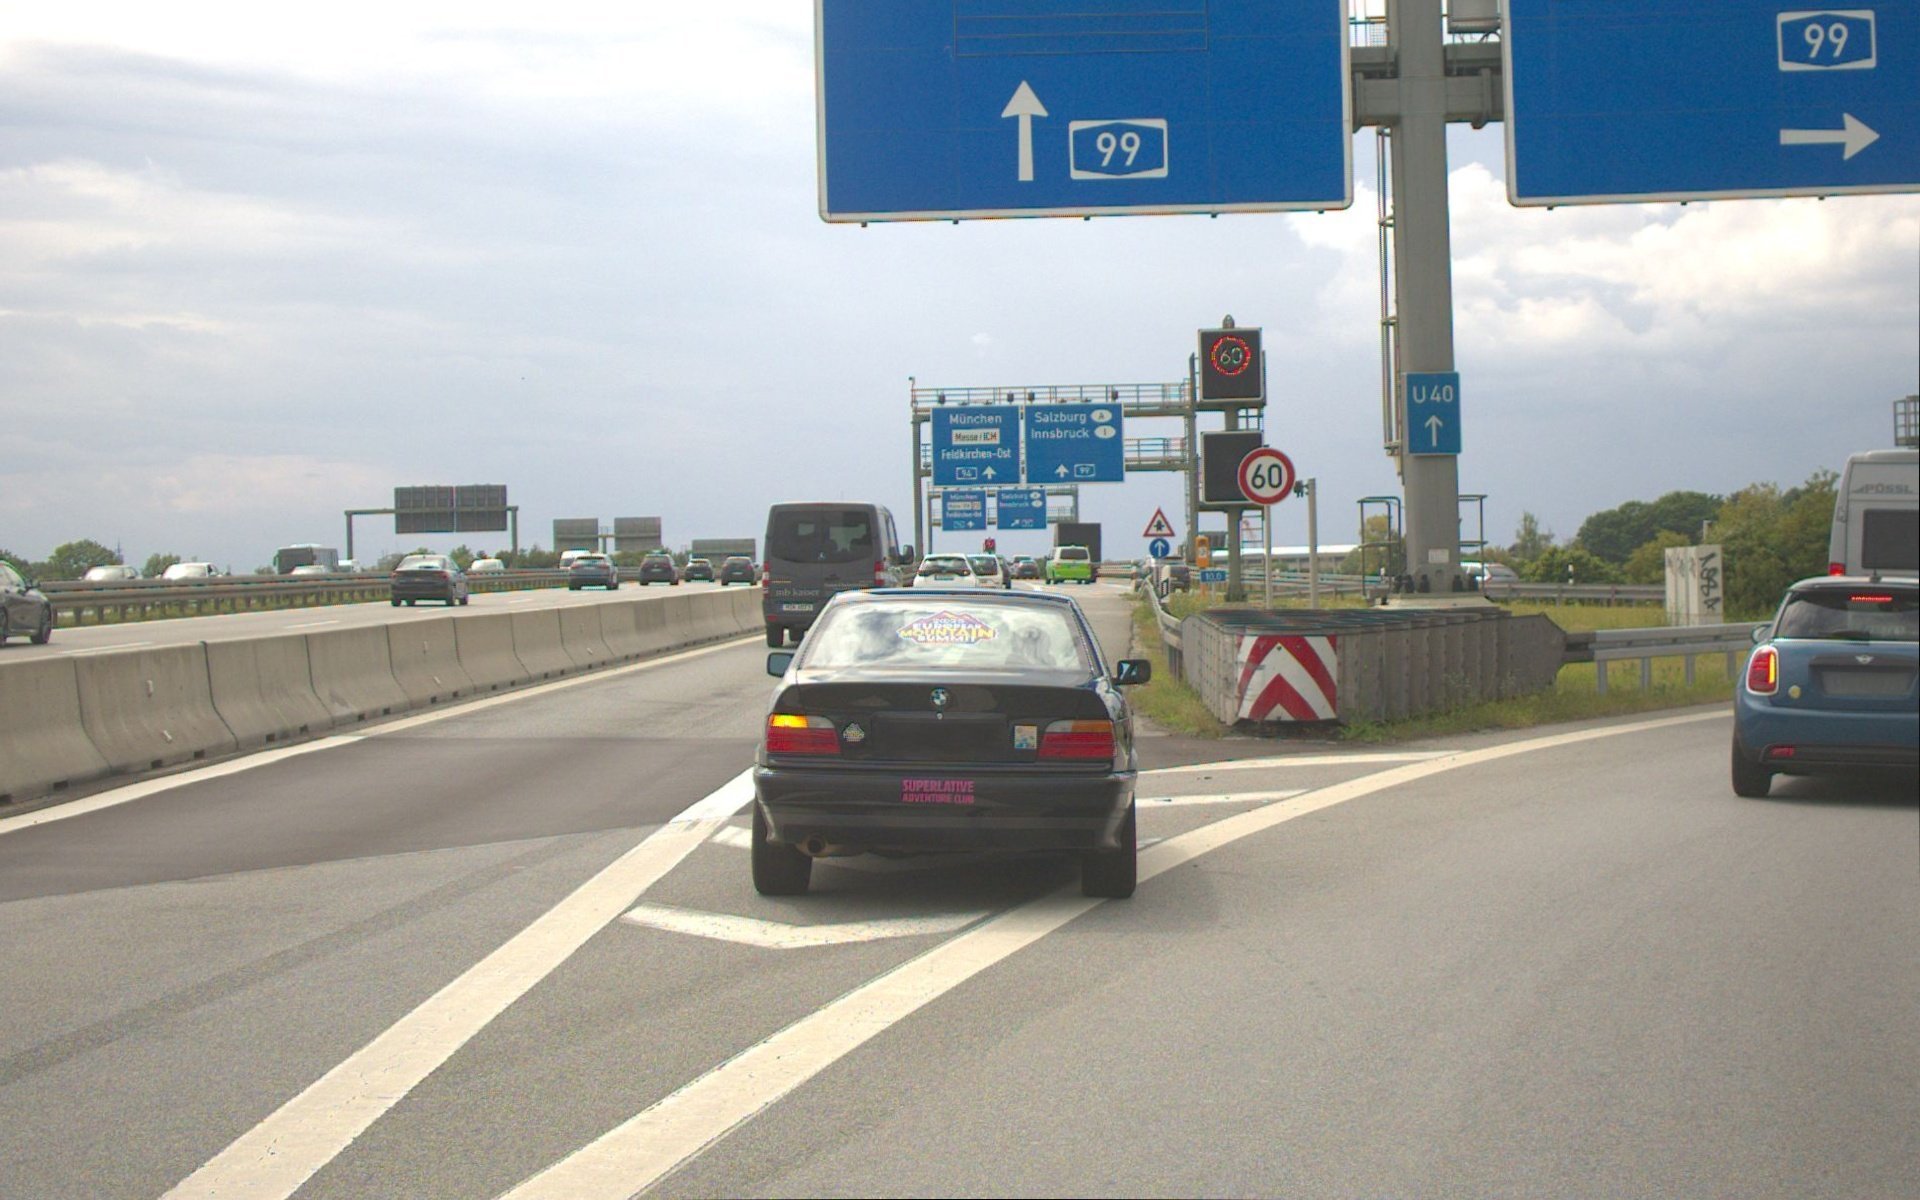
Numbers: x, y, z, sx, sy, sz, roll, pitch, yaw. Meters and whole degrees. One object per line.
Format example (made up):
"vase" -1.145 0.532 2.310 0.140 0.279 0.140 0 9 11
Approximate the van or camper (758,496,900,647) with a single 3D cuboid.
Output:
"van or camper" -2.105 -0.490 56.751 1.999 2.362 6.126 0 1 1

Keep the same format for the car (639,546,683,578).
"car" -15.625 -2.010 180.095 1.901 1.633 4.233 0 1 0

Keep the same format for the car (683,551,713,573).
"car" -16.229 -2.351 213.393 1.552 1.371 4.000 0 1 0

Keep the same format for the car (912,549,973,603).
"car" -0.482 -0.693 96.880 1.701 1.503 3.840 0 1 0

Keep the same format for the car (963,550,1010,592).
"car" 0.961 -1.034 122.408 1.585 1.478 3.535 0 1 2

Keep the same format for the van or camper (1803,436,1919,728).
"van or camper" 9.878 -0.207 32.777 2.297 2.559 6.152 0 1 26

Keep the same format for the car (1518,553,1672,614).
"car" 19.113 -0.515 103.543 1.994 1.766 4.245 -1 1 -41

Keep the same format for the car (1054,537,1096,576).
"car" 5.924 -2.245 177.925 1.993 2.007 4.000 0 1 0

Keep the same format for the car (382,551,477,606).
"car" -15.184 -0.630 98.599 2.059 1.522 4.568 0 1 0

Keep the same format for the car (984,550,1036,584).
"car" 2.177 -1.439 148.515 1.994 1.463 3.999 0 1 4

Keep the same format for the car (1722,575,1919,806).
"car" 6.238 0.552 23.036 1.731 1.414 3.662 1 1 20

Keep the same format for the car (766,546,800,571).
"car" -12.029 -2.826 234.167 1.993 1.678 4.866 0 1 1

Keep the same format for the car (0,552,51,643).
"car" -16.105 -0.052 55.434 1.772 1.445 4.384 0 1 0

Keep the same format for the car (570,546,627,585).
"car" -15.519 -1.483 147.744 1.901 1.634 4.645 0 1 0

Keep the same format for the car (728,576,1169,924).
"car" 0.007 0.598 16.022 1.782 1.373 4.137 0 1 2

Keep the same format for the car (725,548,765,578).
"car" -11.075 -1.930 177.185 1.774 1.525 4.000 -1 1 0
